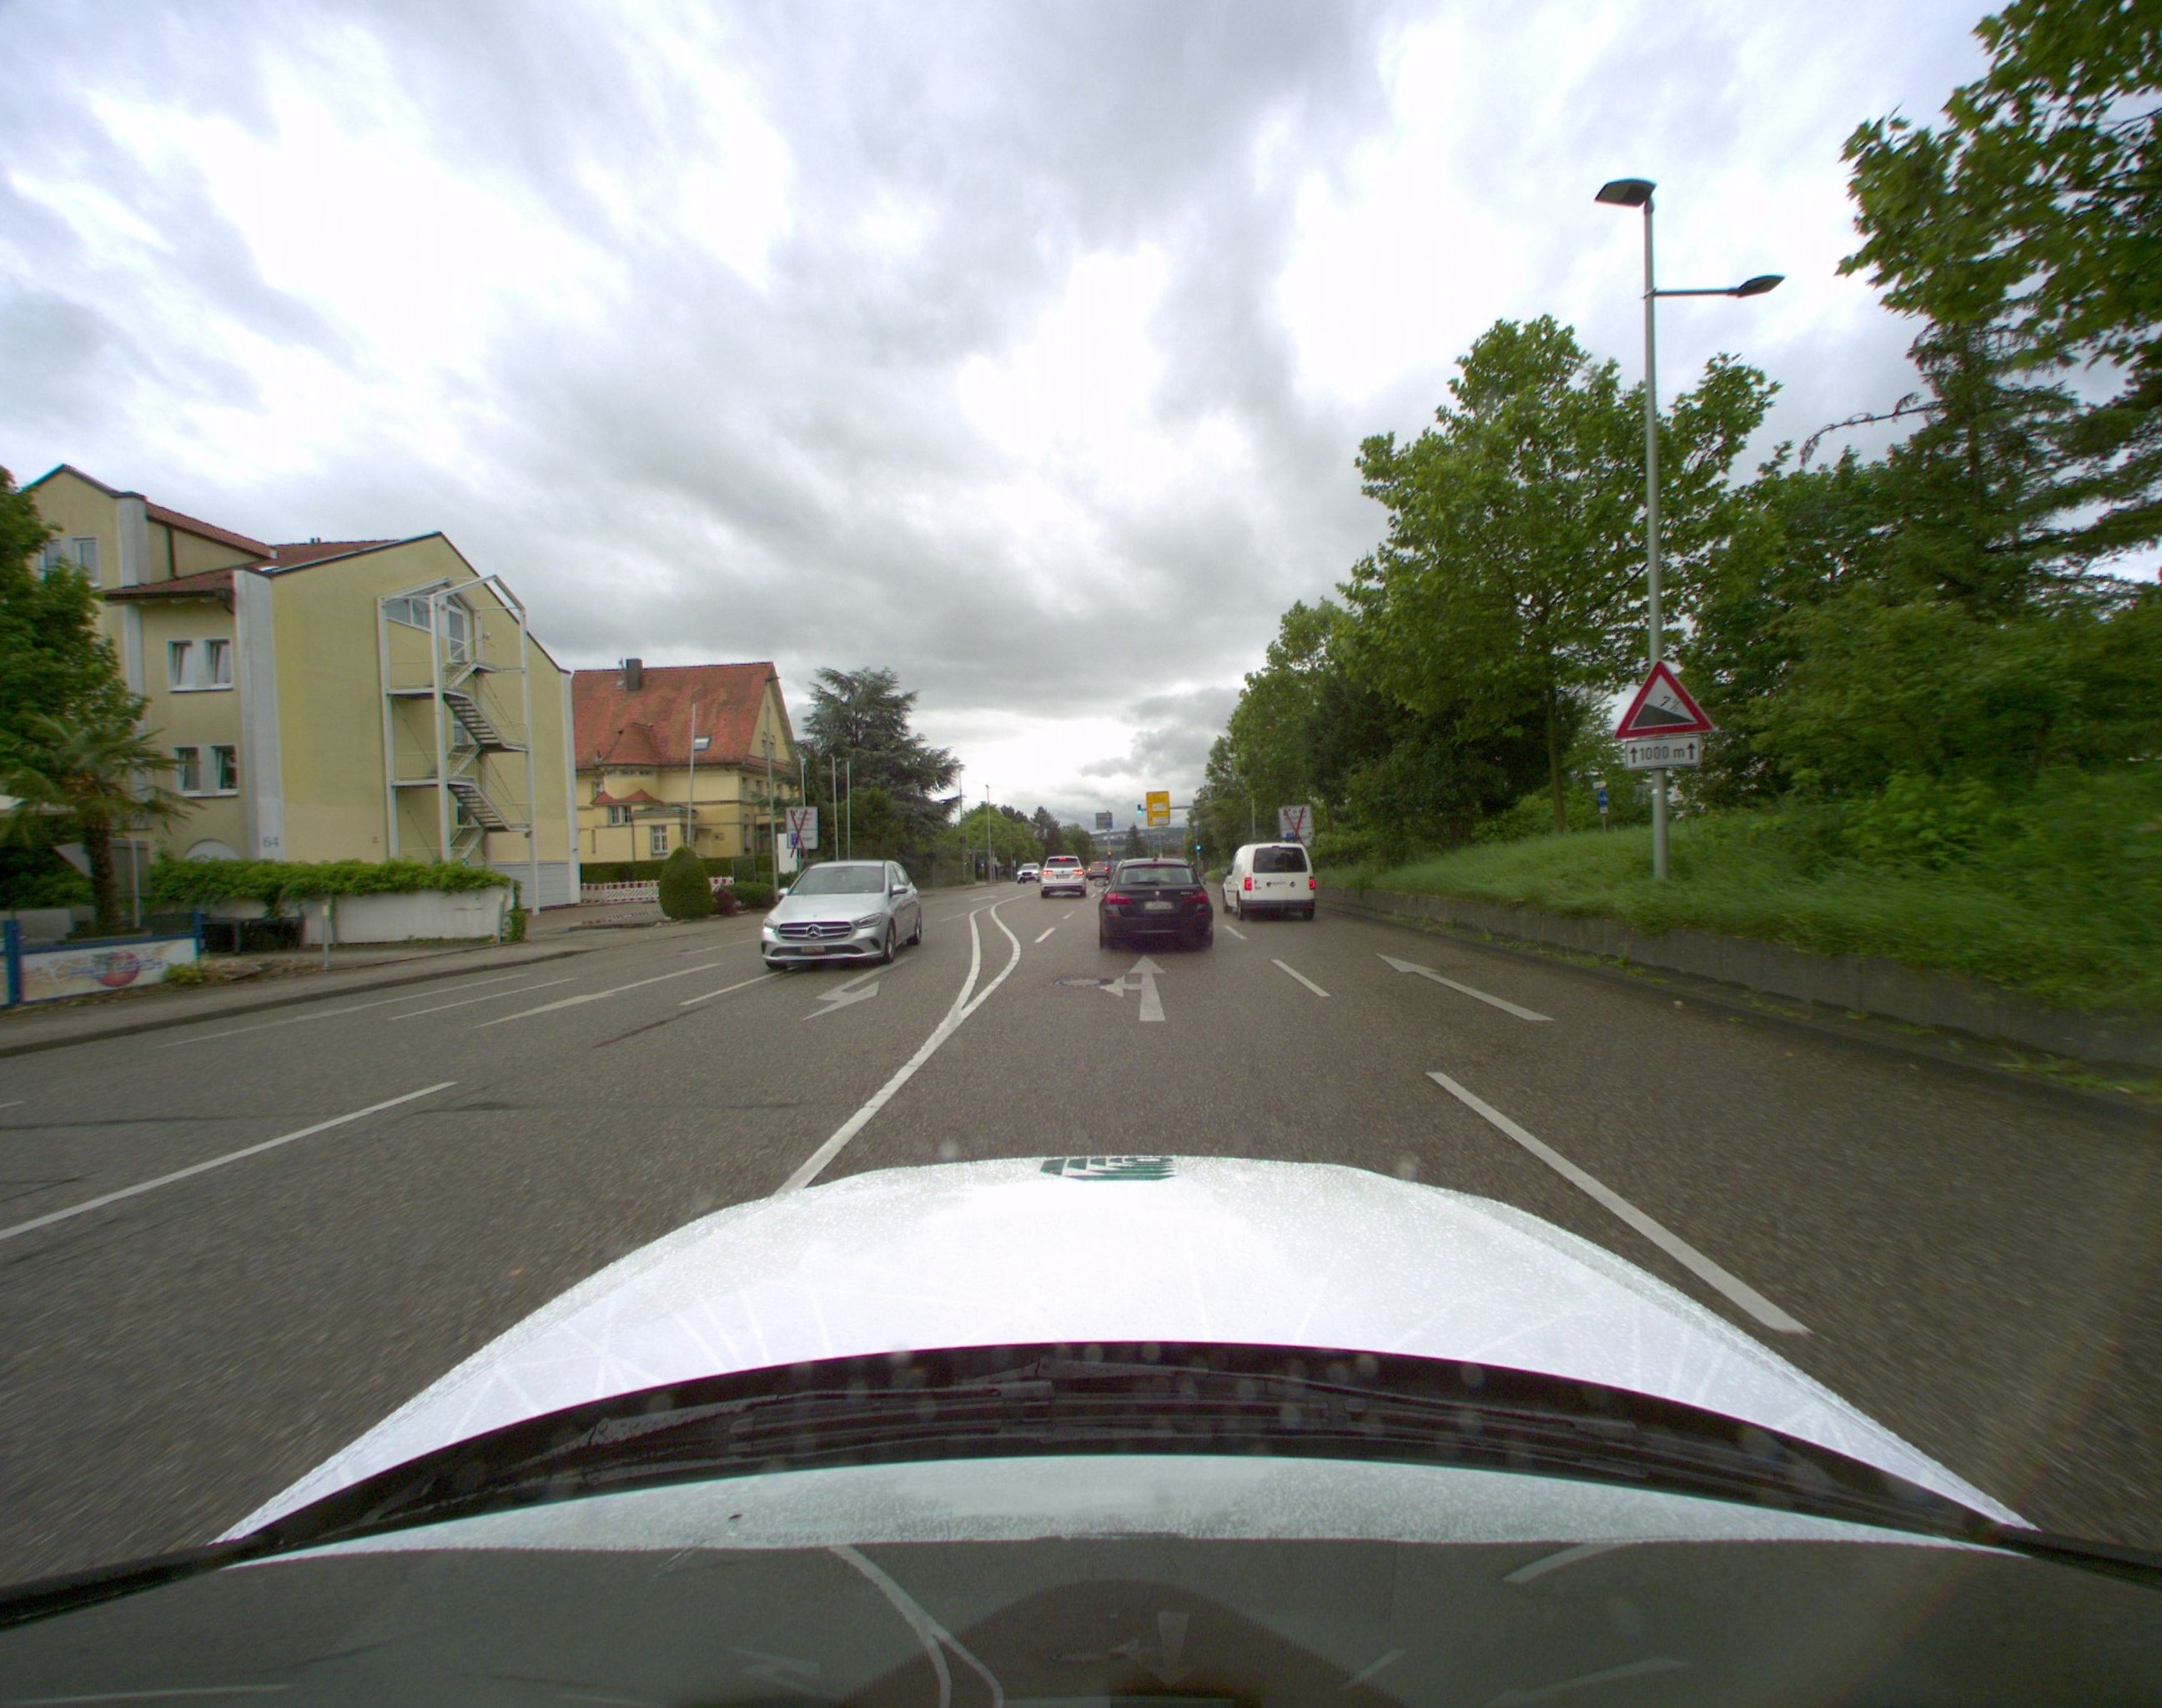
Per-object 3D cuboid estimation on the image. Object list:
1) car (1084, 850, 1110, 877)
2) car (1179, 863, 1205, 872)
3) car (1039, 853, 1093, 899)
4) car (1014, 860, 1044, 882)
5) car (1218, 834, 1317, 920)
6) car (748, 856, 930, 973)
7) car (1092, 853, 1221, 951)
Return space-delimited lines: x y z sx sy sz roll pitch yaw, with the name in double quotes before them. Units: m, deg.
"car" 1.310 0.758 65.273 1.802 2.088 3.854 -1 0 4
"car" 17.801 2.183 130.673 3.965 1.376 1.588 -1 -1 7
"car" -0.555 0.839 33.665 1.860 1.673 4.005 -1 1 4
"car" -4.656 1.530 74.167 1.909 1.763 5.149 -4 -1 4
"car" 4.510 0.471 20.201 1.757 1.877 3.809 -1 2 3
"car" -3.679 0.835 13.183 1.745 1.508 4.298 -2 0 -2
"car" 1.278 0.759 14.225 1.890 1.442 4.004 -1 -1 4
